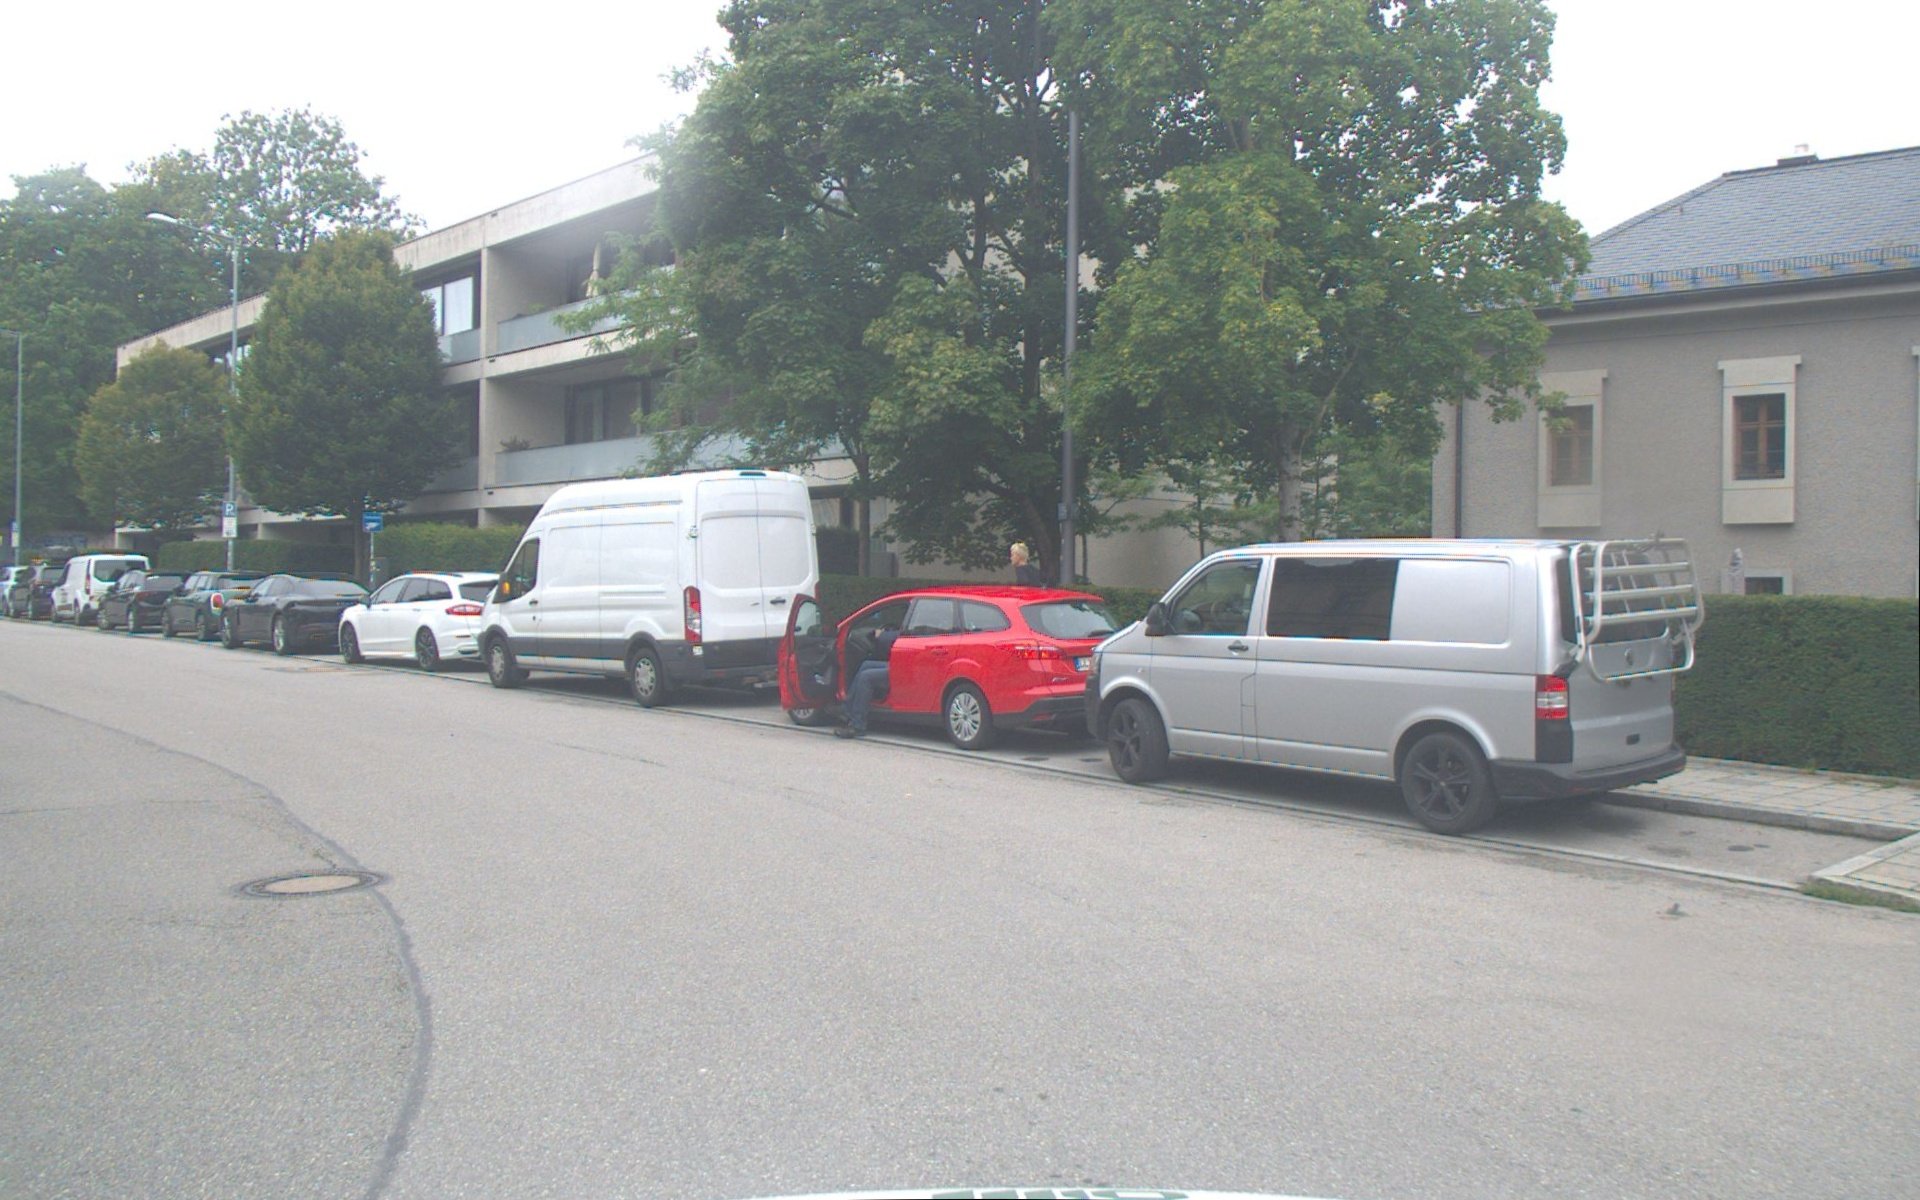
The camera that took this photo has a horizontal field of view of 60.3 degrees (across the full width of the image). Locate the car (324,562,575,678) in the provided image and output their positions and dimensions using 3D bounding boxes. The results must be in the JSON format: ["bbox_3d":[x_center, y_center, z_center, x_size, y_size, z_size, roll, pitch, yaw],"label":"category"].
[{"bbox_3d":[-8.313,0.234,26.671,1.863,1.596,4.921,-3,4,-44],"label":"car"}]

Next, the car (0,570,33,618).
[{"bbox_3d":[-32.749,-0.215,55.597,1.740,1.566,4.497,1,1,-43],"label":"car"}]

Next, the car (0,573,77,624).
[{"bbox_3d":[-28.930,-0.079,51.452,1.738,1.506,3.829,0,1,-41],"label":"car"}]

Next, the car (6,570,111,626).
[{"bbox_3d":[-26.120,-0.074,47.868,1.738,1.506,4.530,1,0,-41],"label":"car"}]

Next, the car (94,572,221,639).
[{"bbox_3d":[-19.191,0.091,39.491,1.738,1.489,4.179,0,1,-41],"label":"car"}]

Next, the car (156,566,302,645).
[{"bbox_3d":[-15.740,0.059,35.519,1.717,1.555,4.142,-2,2,-41],"label":"car"}]

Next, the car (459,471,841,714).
[{"bbox_3d":[-4.207,-0.197,21.560,2.069,2.733,5.995,-2,3,-42],"label":"car"}]

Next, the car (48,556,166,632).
[{"bbox_3d":[-22.770,-0.176,44.052,1.811,1.893,4.828,2,0,-39],"label":"car"}]

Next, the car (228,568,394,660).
[{"bbox_3d":[-12.330,0.201,31.235,1.274,1.532,5.130,-3,3,-41],"label":"car"}]

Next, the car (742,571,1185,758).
[{"bbox_3d":[-0.114,0.528,17.004,1.861,1.533,4.764,-3,3,-42],"label":"car"}]

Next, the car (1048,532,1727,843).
[{"bbox_3d":[3.078,0.464,12.941,1.923,1.937,4.999,-3,3,-40],"label":"car"}]

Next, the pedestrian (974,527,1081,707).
[{"bbox_3d":[0.743,0.181,18.364,0.788,1.937,0.854,2,0,-35],"label":"pedestrian"}]
